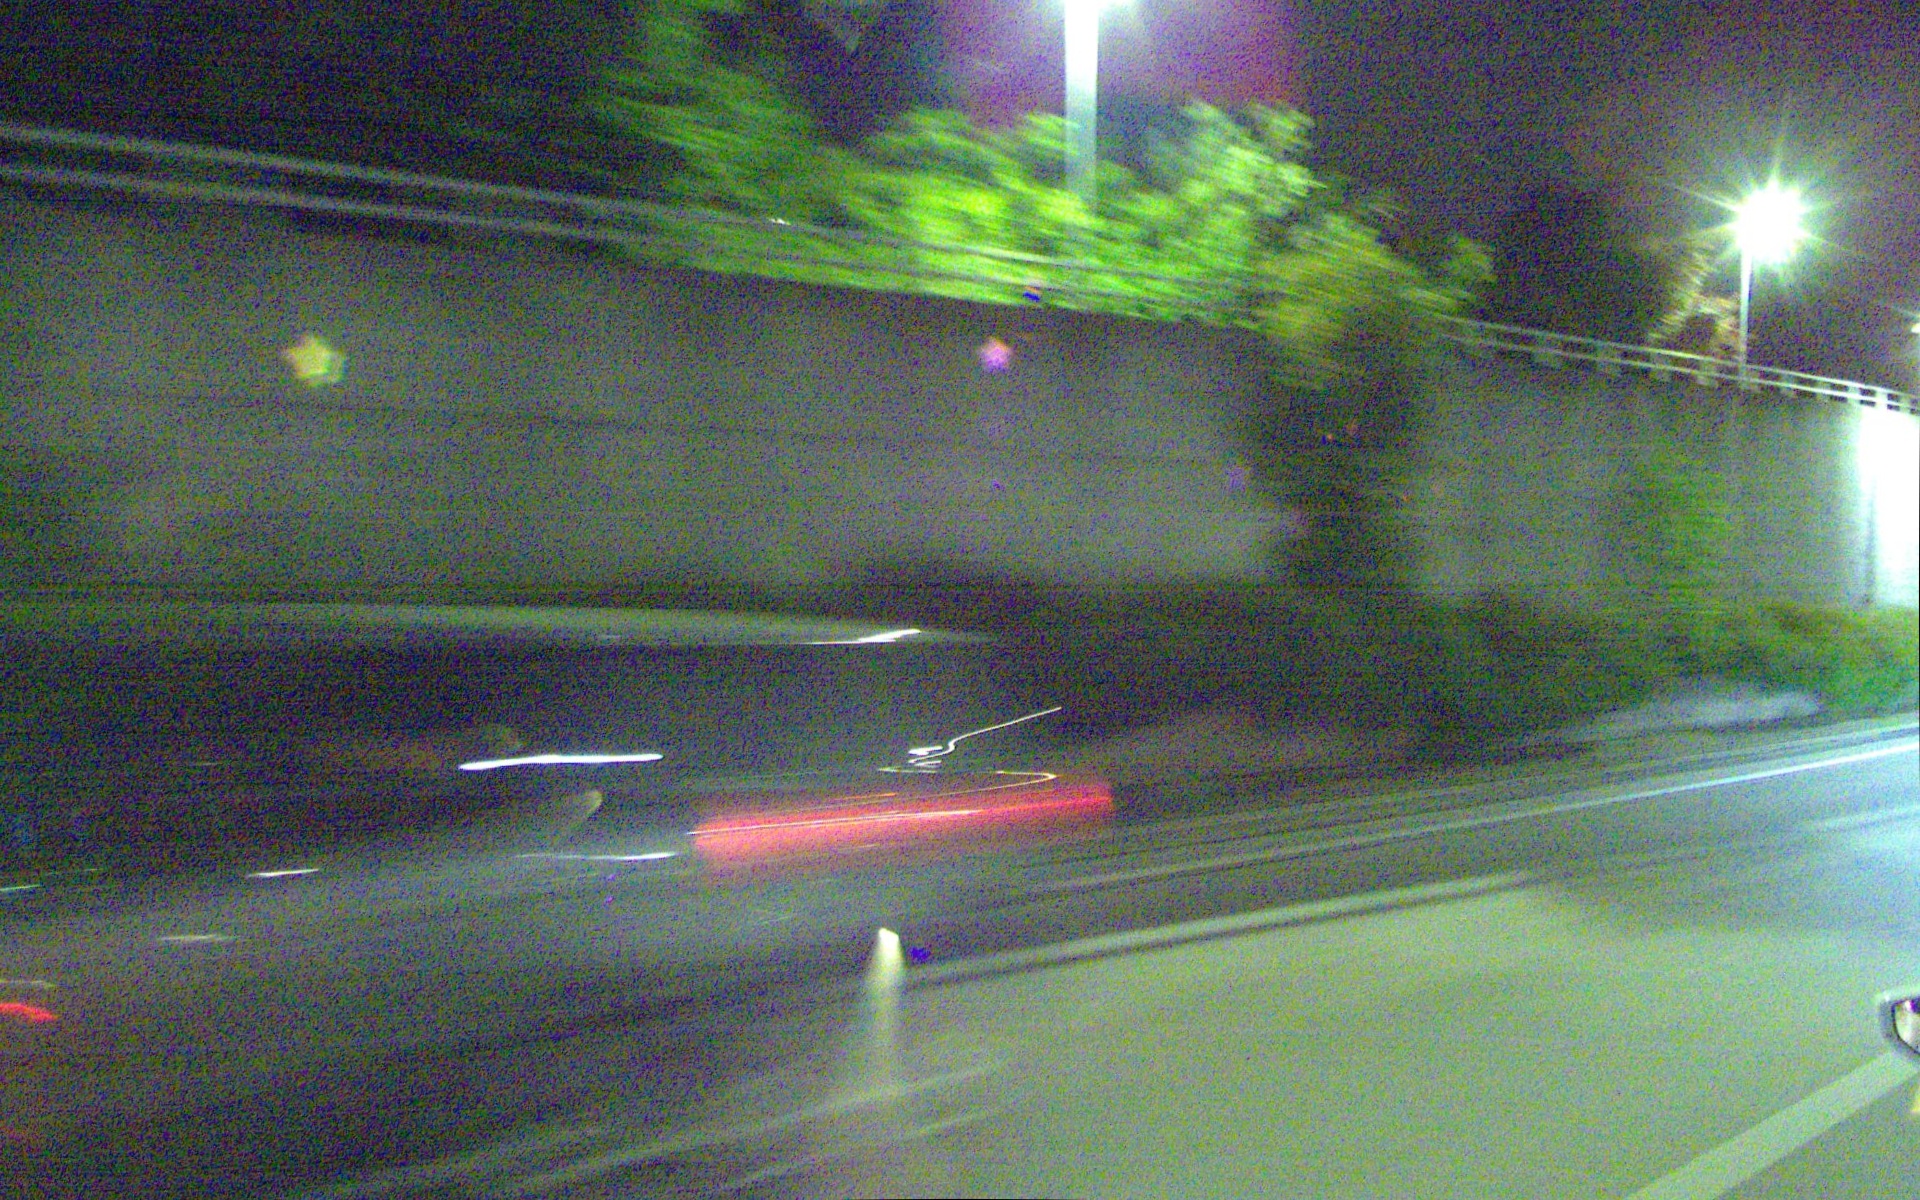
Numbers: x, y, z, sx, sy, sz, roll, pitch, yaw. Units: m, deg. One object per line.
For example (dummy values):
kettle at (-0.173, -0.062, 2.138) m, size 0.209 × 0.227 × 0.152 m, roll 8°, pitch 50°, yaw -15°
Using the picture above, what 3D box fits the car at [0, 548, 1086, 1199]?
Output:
car at (-1.809, 0.687, 2.624) m, size 3.954 × 1.530 × 1.849 m, roll 2°, pitch -1°, yaw -31°
